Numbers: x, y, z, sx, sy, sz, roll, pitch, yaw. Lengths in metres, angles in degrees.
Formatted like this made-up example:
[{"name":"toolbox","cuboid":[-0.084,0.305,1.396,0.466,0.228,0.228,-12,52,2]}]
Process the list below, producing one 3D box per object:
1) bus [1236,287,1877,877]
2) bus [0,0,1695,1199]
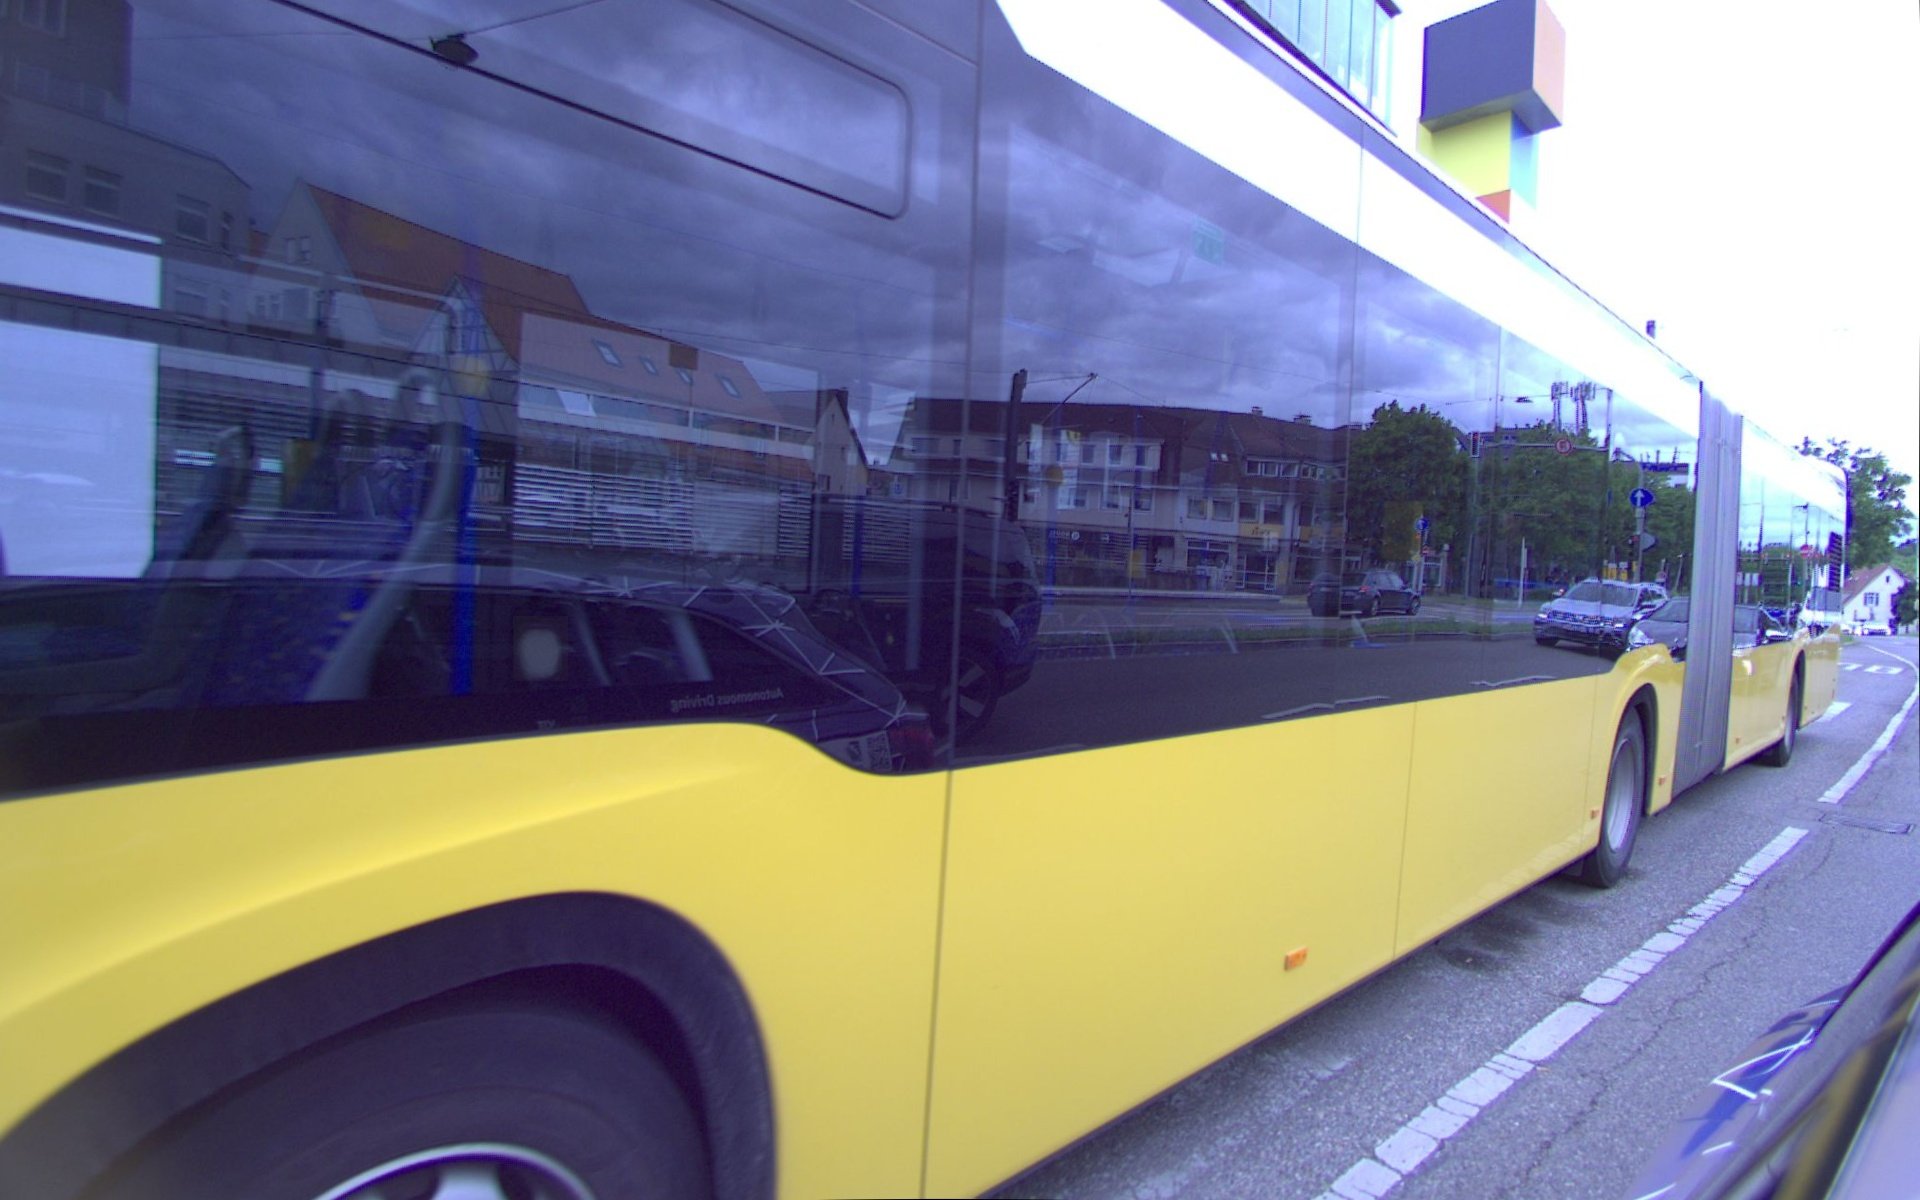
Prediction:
[{"name":"bus","cuboid":[6.156,-0.126,9.389,8.720,3.147,2.716,0,2,-43]},{"name":"bus","cuboid":[-0.271,-0.262,3.269,8.977,3.202,2.715,0,2,-44]}]
